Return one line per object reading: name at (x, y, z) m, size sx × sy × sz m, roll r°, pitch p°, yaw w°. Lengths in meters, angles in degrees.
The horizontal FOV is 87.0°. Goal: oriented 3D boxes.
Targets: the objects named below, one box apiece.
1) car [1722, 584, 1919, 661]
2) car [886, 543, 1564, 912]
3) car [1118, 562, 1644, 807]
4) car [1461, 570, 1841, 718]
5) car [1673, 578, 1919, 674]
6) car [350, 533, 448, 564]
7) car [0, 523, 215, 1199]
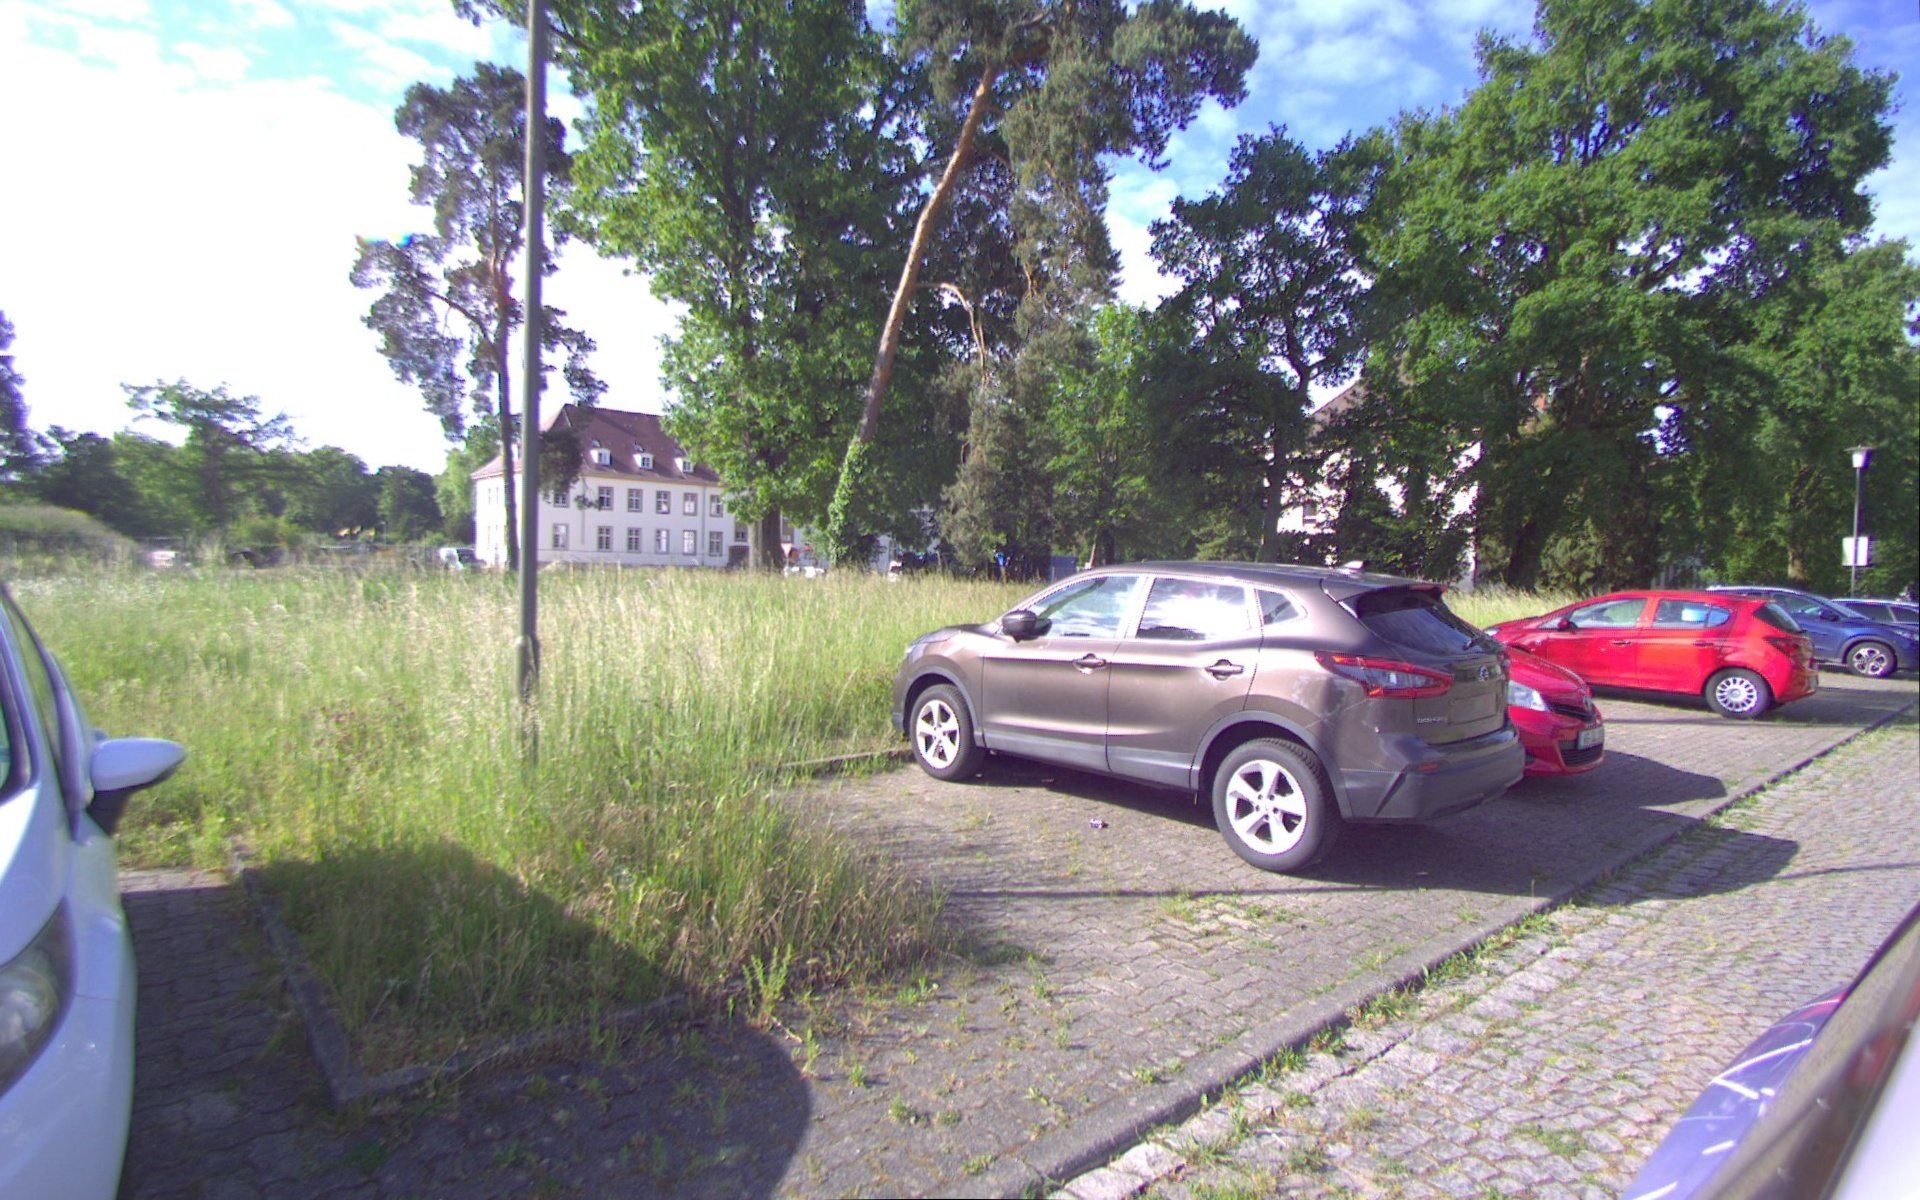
car at (20.300, 0.497, 22.975) m, size 1.682 × 1.425 × 4.464 m, roll 0°, pitch 4°, yaw -38°
car at (1.417, 0.489, 6.573) m, size 1.741 × 1.641 × 3.943 m, roll 0°, pitch 2°, yaw -42°
car at (3.322, 0.498, 8.567) m, size 1.616 × 1.549 × 3.771 m, roll 0°, pitch 2°, yaw -40°
car at (8.997, 0.456, 13.428) m, size 1.617 × 1.496 × 3.835 m, roll 0°, pitch 4°, yaw -42°
car at (16.768, 0.444, 19.893) m, size 1.721 × 1.610 × 4.185 m, roll 0°, pitch 2°, yaw -41°
car at (-41.052, -3.746, 74.228) m, size 5.888 × 2.198 × 2.381 m, roll 0°, pitch 2°, yaw -14°
car at (-3.000, 0.545, 2.377) m, size 1.617 × 1.506 × 3.725 m, roll 0°, pitch 3°, yaw -43°
